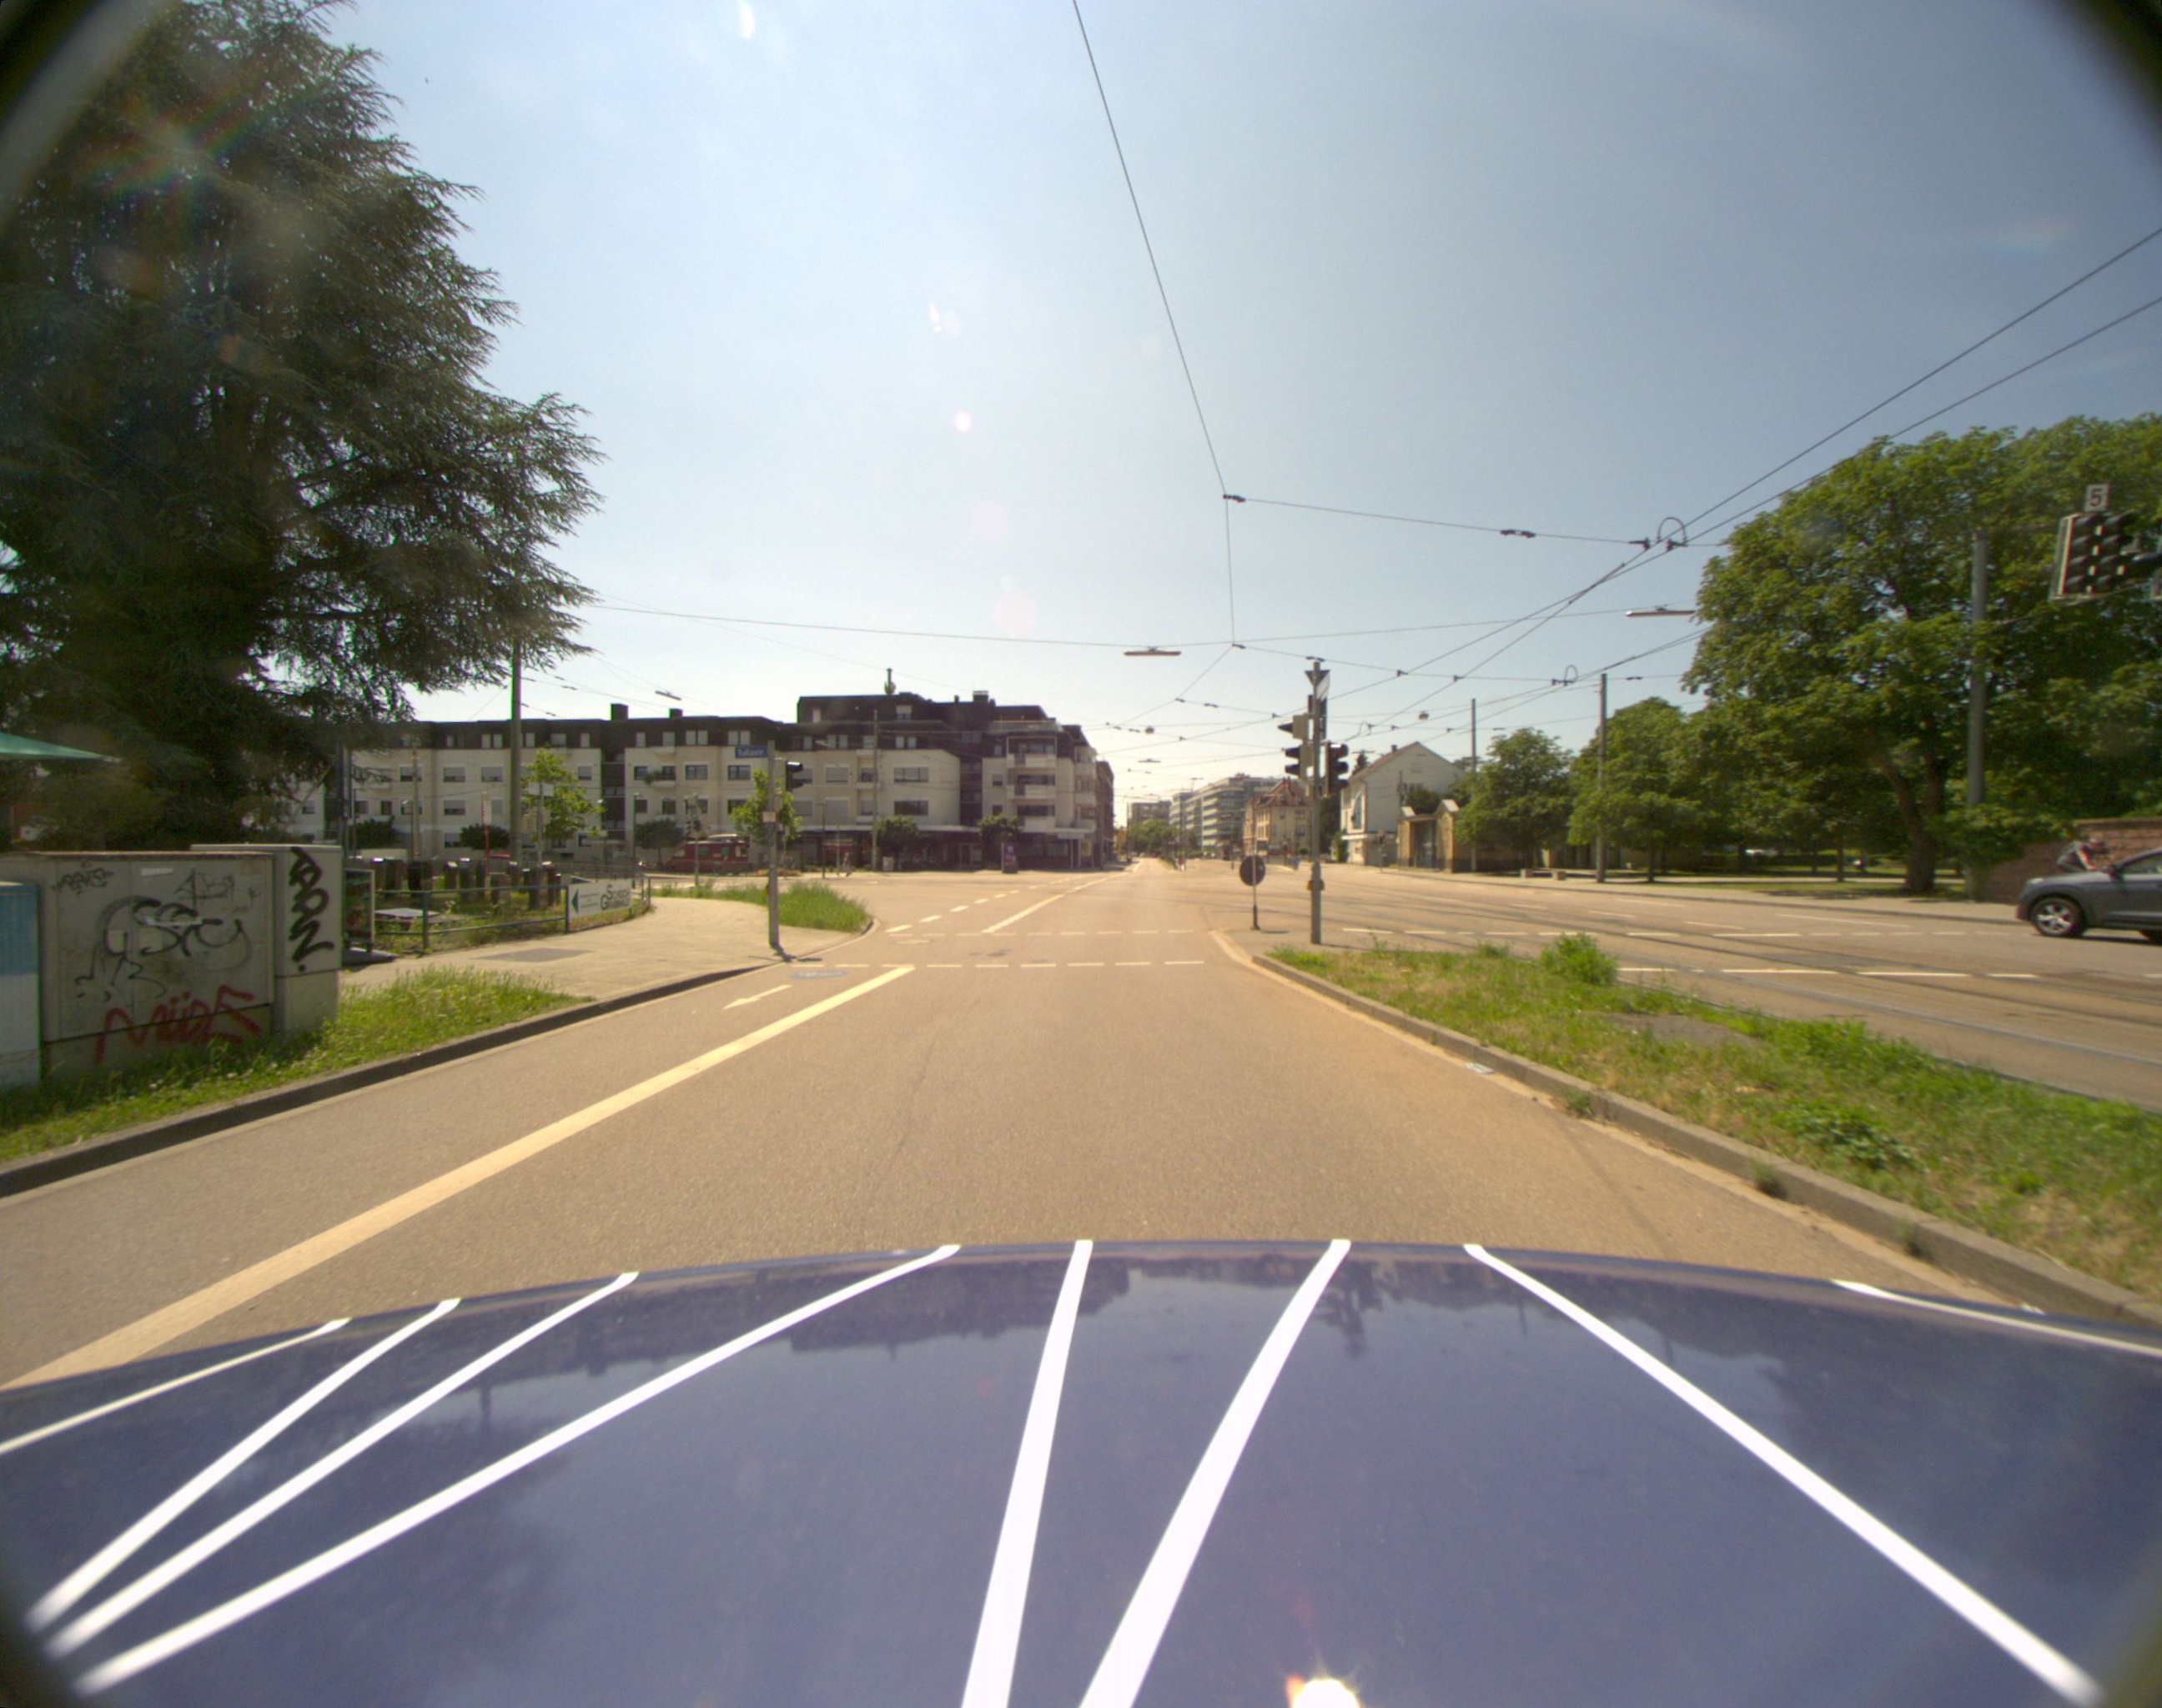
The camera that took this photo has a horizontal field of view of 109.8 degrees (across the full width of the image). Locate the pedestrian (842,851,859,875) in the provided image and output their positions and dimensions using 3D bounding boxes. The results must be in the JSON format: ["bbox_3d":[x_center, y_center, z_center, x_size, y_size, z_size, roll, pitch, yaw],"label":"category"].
[{"bbox_3d":[-15.659,0.618,51.616,0.806,1.615,0.944,0,1,11],"label":"pedestrian"}]

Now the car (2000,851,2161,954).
[{"bbox_3d":[17.114,0.735,11.221,1.844,1.546,4.467,0,0,4],"label":"car"}]

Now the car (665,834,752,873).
[{"bbox_3d":[-26.317,-0.032,53.793,5.201,2.712,2.001,0,1,4],"label":"car"}]

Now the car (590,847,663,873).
[{"bbox_3d":[-32.364,0.406,54.221,3.996,1.740,2.000,0,1,3],"label":"car"}]

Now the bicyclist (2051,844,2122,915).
[{"bbox_3d":[21.617,0.535,16.347,0.654,1.488,0.662,-1,1,3],"label":"bicyclist"}]

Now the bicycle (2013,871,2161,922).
[{"bbox_3d":[21.617,0.881,16.327,0.654,0.951,2.115,-1,0,4],"label":"bicycle"}]
